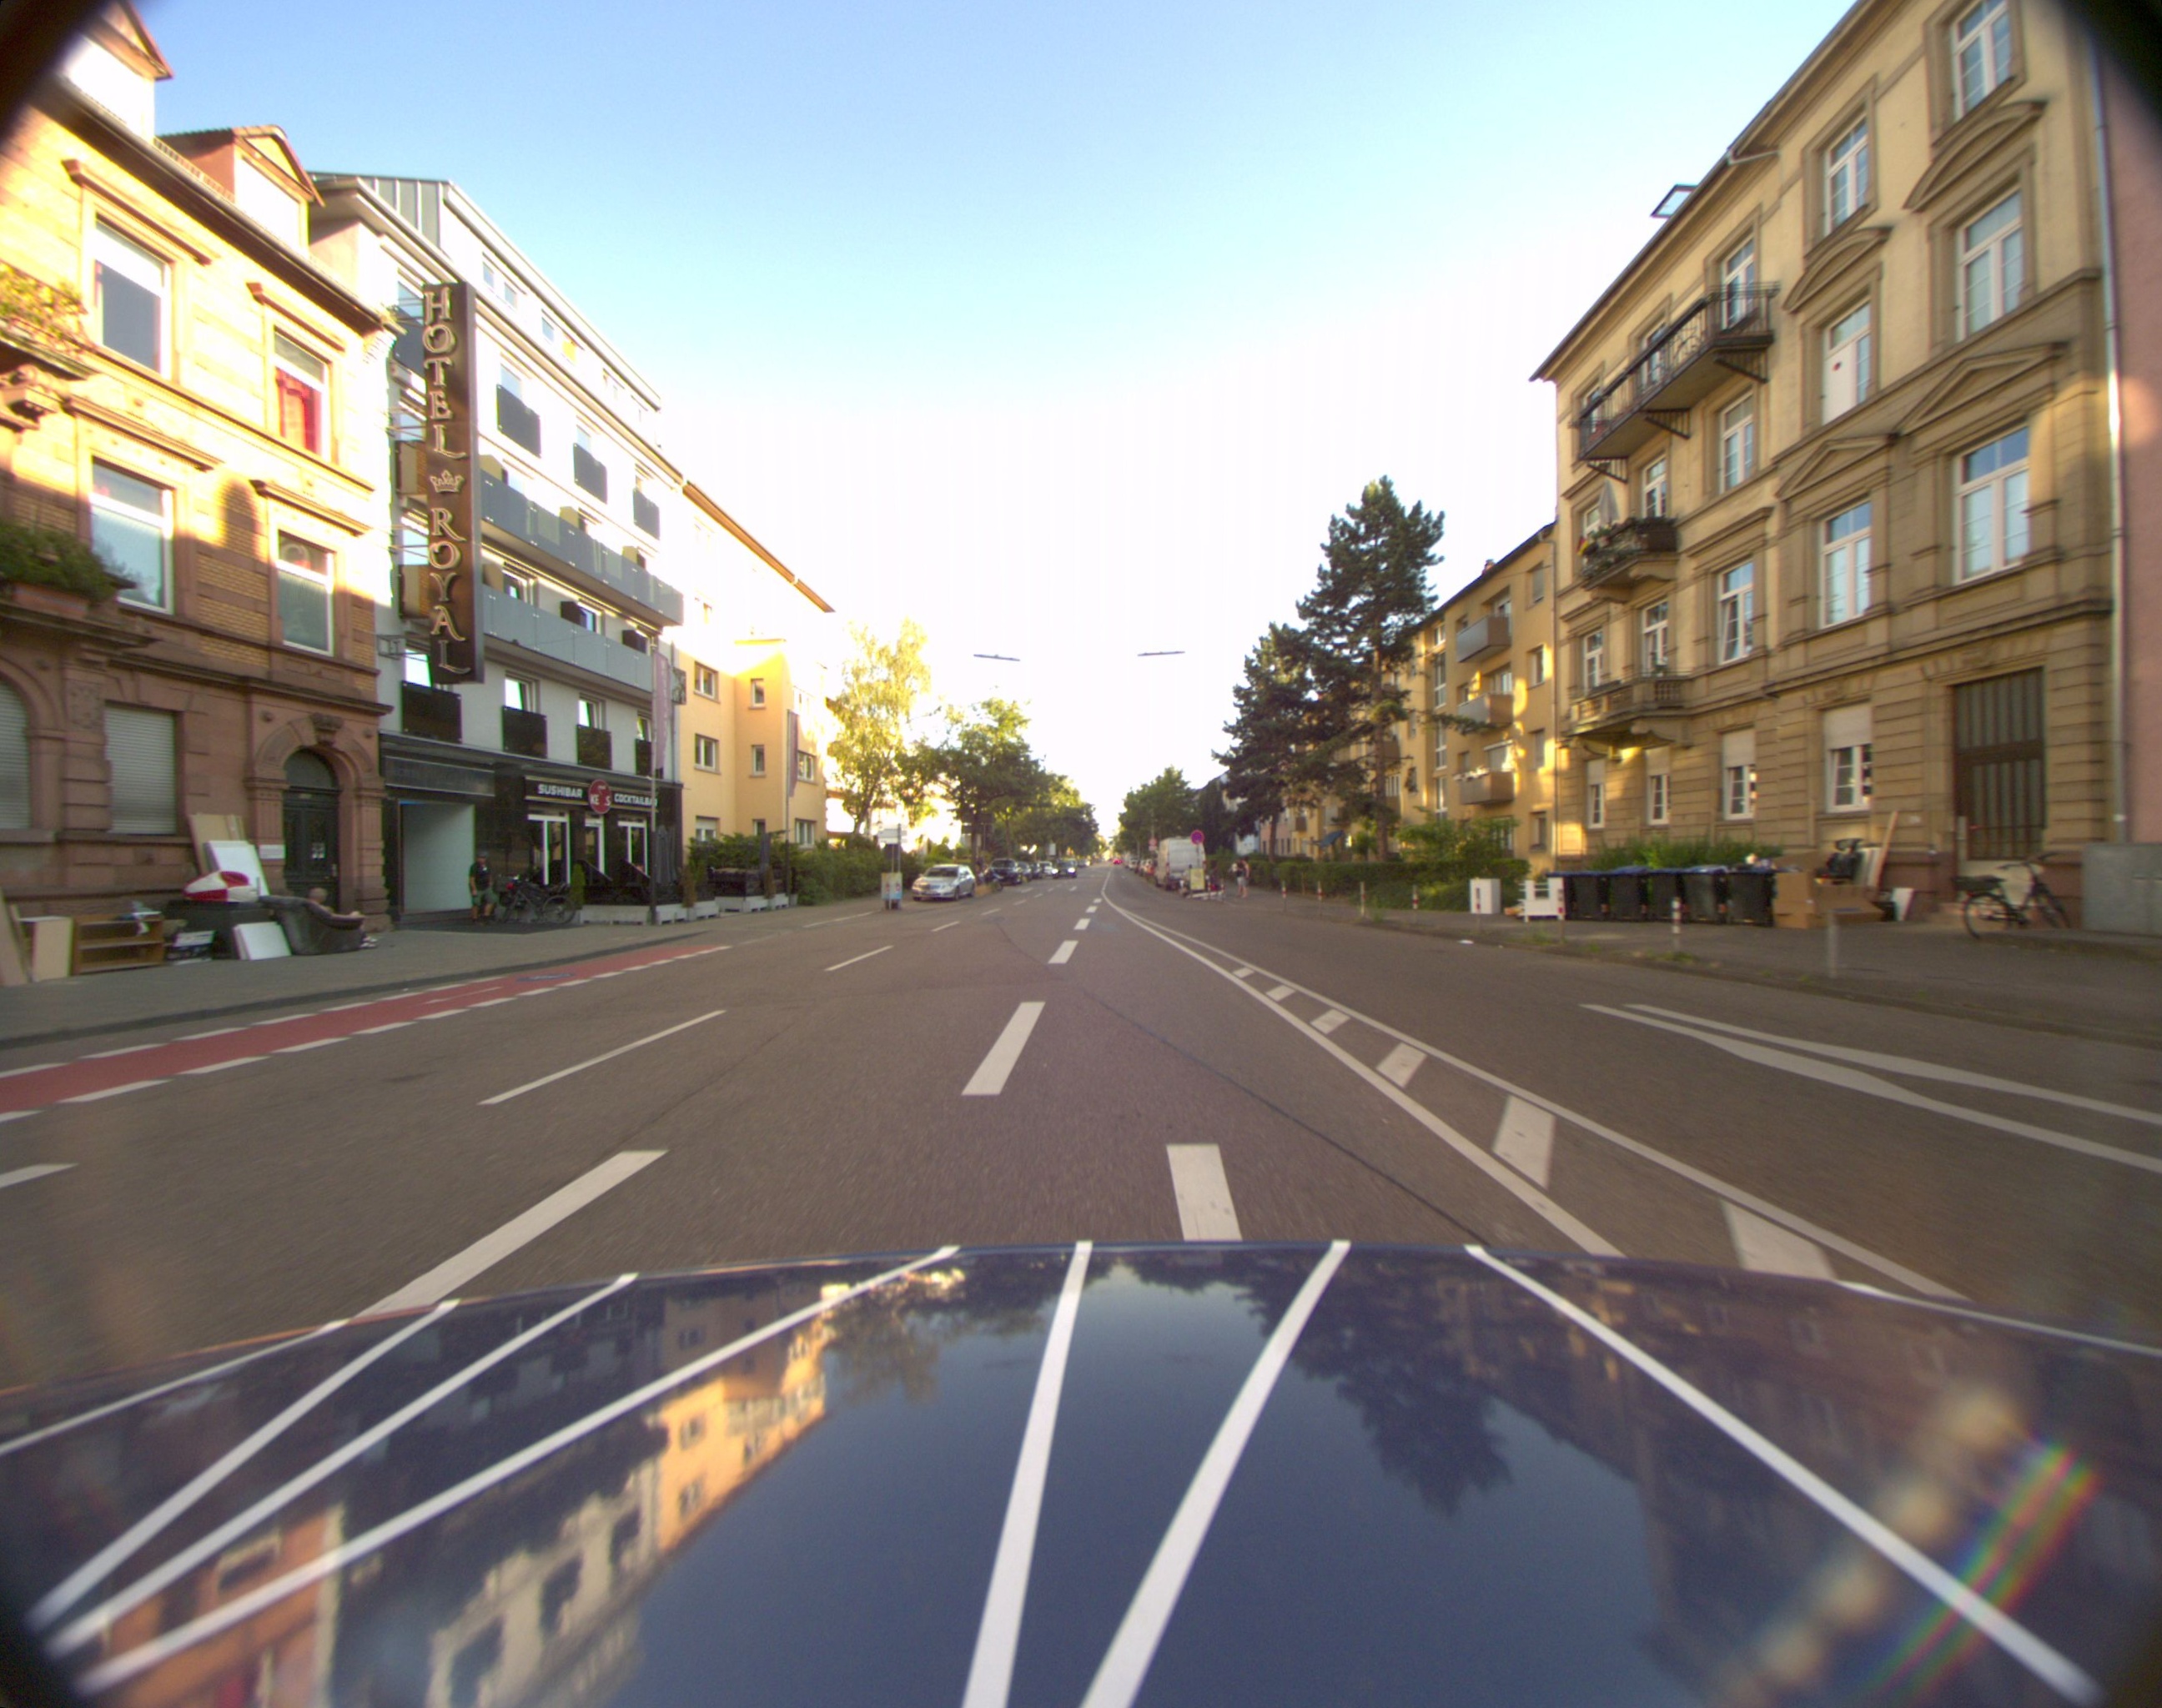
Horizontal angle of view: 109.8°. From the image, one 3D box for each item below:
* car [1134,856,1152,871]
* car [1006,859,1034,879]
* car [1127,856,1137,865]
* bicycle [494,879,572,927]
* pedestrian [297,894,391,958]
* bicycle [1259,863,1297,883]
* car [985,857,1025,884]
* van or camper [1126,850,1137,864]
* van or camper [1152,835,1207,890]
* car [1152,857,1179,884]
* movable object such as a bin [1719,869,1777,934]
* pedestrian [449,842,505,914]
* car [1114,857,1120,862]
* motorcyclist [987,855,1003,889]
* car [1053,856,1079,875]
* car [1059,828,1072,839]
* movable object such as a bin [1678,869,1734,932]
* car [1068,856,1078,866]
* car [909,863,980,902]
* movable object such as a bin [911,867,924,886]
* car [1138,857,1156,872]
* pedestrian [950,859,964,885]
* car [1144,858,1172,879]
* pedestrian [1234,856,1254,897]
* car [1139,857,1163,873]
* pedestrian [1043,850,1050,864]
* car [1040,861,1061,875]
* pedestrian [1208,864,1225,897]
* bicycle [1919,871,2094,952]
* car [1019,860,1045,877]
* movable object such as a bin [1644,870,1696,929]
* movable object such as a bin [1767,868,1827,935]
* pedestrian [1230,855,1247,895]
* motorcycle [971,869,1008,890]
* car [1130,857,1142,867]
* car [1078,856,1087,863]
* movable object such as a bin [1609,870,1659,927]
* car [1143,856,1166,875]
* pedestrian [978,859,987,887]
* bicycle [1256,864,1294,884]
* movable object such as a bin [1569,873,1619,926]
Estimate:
[{"bbox_3d":[6.790,1.048,83.643,1.841,1.508,4.316,-2,0,3],"label":"car"},{"bbox_3d":[-4.600,1.141,57.837,1.720,1.463,4.432,0,0,1],"label":"car"},{"bbox_3d":[9.163,1.182,135.988,1.808,1.489,3.958,-1,0,4],"label":"car"},{"bbox_3d":[-13.316,1.194,18.490,1.426,1.104,0.488,2,0,-15],"label":"bicycle"},{"bbox_3d":[-12.938,1.255,13.361,0.692,1.037,0.945,-1,0,6],"label":"pedestrian"},{"bbox_3d":[10.008,0.959,38.597,1.789,0.976,0.590,-2,0,4],"label":"bicycle"},{"bbox_3d":[-4.835,1.005,49.014,1.952,1.645,4.796,-1,0,2],"label":"car"},{"bbox_3d":[9.925,0.598,149.869,1.917,2.528,5.336,-1,0,3],"label":"van or camper"},{"bbox_3d":[5.220,0.435,41.033,2.041,2.648,6.015,-3,0,0],"label":"van or camper"},{"bbox_3d":[5.078,0.963,45.901,1.407,1.539,2.762,-3,0,4],"label":"car"},{"bbox_3d":[12.150,0.854,13.853,0.643,1.104,0.582,-3,2,-28],"label":"movable object such as a bin"},{"bbox_3d":[-14.066,0.554,17.699,0.708,1.633,0.693,-1,0,2],"label":"pedestrian"},{"bbox_3d":[10.255,1.570,217.613,1.699,1.570,3.832,-2,0,1],"label":"car"},{"bbox_3d":[-4.554,0.944,40.259,0.738,1.767,1.087,-1,0,-9],"label":"motorcyclist"},{"bbox_3d":[-1.233,0.934,64.798,1.998,1.525,4.000,-1,0,1],"label":"car"},{"bbox_3d":[-2.171,-2.965,108.967,1.738,1.435,4.305,0,-1,1],"label":"car"},{"bbox_3d":[11.795,0.860,14.346,0.643,1.104,0.582,-3,2,-28],"label":"movable object such as a bin"},{"bbox_3d":[-1.367,1.210,132.623,1.798,1.577,4.000,0,0,0],"label":"car"},{"bbox_3d":[-5.812,1.161,33.012,1.860,1.503,4.836,1,0,4],"label":"car"},{"bbox_3d":[-9.138,1.267,42.357,0.494,1.053,0.548,0,0,15],"label":"movable object such as a bin"},{"bbox_3d":[6.835,1.051,78.500,1.595,1.483,3.642,-2,1,2],"label":"car"},{"bbox_3d":[-7.783,1.108,47.666,0.748,1.606,0.580,-1,0,1],"label":"pedestrian"},{"bbox_3d":[5.561,1.013,55.075,1.721,1.443,3.924,-2,0,2],"label":"car"},{"bbox_3d":[6.635,0.924,30.946,0.606,1.642,0.697,-1,0,-4],"label":"pedestrian"},{"bbox_3d":[6.512,1.012,71.238,1.998,1.439,4.459,-1,0,2],"label":"car"},{"bbox_3d":[-4.318,0.363,94.067,0.669,1.773,0.764,-4,2,2],"label":"pedestrian"},{"bbox_3d":[-2.999,1.366,75.281,1.766,1.394,4.334,0,0,3],"label":"car"},{"bbox_3d":[5.711,1.115,32.137,0.560,1.370,0.480,-2,0,-3],"label":"pedestrian"},{"bbox_3d":[13.509,0.821,11.120,1.652,0.961,0.662,-6,0,1],"label":"bicycle"},{"bbox_3d":[-4.136,1.201,64.630,1.774,1.440,4.485,0,0,2],"label":"car"},{"bbox_3d":[11.616,0.879,14.990,0.643,1.104,0.582,-3,2,-28],"label":"movable object such as a bin"},{"bbox_3d":[12.548,0.820,13.320,0.643,1.104,0.582,-3,2,-28],"label":"movable object such as a bin"},{"bbox_3d":[6.573,0.858,31.692,0.481,1.642,0.725,-1,0,-4],"label":"pedestrian"},{"bbox_3d":[-4.869,1.367,40.510,1.932,1.065,0.819,-1,0,-9],"label":"motorcycle"},{"bbox_3d":[8.156,1.145,111.986,1.684,1.434,3.882,-2,0,4],"label":"car"},{"bbox_3d":[0.387,1.236,163.395,1.797,1.558,3.673,0,0,3],"label":"car"},{"bbox_3d":[11.320,0.899,15.567,0.643,1.104,0.582,-3,2,-28],"label":"movable object such as a bin"},{"bbox_3d":[6.372,0.983,66.243,1.781,1.579,4.186,-2,0,3],"label":"car"},{"bbox_3d":[-5.235,0.998,40.320,0.439,1.421,0.704,-1,0,-9],"label":"pedestrian"},{"bbox_3d":[10.042,1.032,39.350,1.762,0.976,0.590,-2,0,4],"label":"bicycle"},{"bbox_3d":[10.917,0.952,16.175,0.643,1.062,0.626,-3,2,-28],"label":"movable object such as a bin"}]
